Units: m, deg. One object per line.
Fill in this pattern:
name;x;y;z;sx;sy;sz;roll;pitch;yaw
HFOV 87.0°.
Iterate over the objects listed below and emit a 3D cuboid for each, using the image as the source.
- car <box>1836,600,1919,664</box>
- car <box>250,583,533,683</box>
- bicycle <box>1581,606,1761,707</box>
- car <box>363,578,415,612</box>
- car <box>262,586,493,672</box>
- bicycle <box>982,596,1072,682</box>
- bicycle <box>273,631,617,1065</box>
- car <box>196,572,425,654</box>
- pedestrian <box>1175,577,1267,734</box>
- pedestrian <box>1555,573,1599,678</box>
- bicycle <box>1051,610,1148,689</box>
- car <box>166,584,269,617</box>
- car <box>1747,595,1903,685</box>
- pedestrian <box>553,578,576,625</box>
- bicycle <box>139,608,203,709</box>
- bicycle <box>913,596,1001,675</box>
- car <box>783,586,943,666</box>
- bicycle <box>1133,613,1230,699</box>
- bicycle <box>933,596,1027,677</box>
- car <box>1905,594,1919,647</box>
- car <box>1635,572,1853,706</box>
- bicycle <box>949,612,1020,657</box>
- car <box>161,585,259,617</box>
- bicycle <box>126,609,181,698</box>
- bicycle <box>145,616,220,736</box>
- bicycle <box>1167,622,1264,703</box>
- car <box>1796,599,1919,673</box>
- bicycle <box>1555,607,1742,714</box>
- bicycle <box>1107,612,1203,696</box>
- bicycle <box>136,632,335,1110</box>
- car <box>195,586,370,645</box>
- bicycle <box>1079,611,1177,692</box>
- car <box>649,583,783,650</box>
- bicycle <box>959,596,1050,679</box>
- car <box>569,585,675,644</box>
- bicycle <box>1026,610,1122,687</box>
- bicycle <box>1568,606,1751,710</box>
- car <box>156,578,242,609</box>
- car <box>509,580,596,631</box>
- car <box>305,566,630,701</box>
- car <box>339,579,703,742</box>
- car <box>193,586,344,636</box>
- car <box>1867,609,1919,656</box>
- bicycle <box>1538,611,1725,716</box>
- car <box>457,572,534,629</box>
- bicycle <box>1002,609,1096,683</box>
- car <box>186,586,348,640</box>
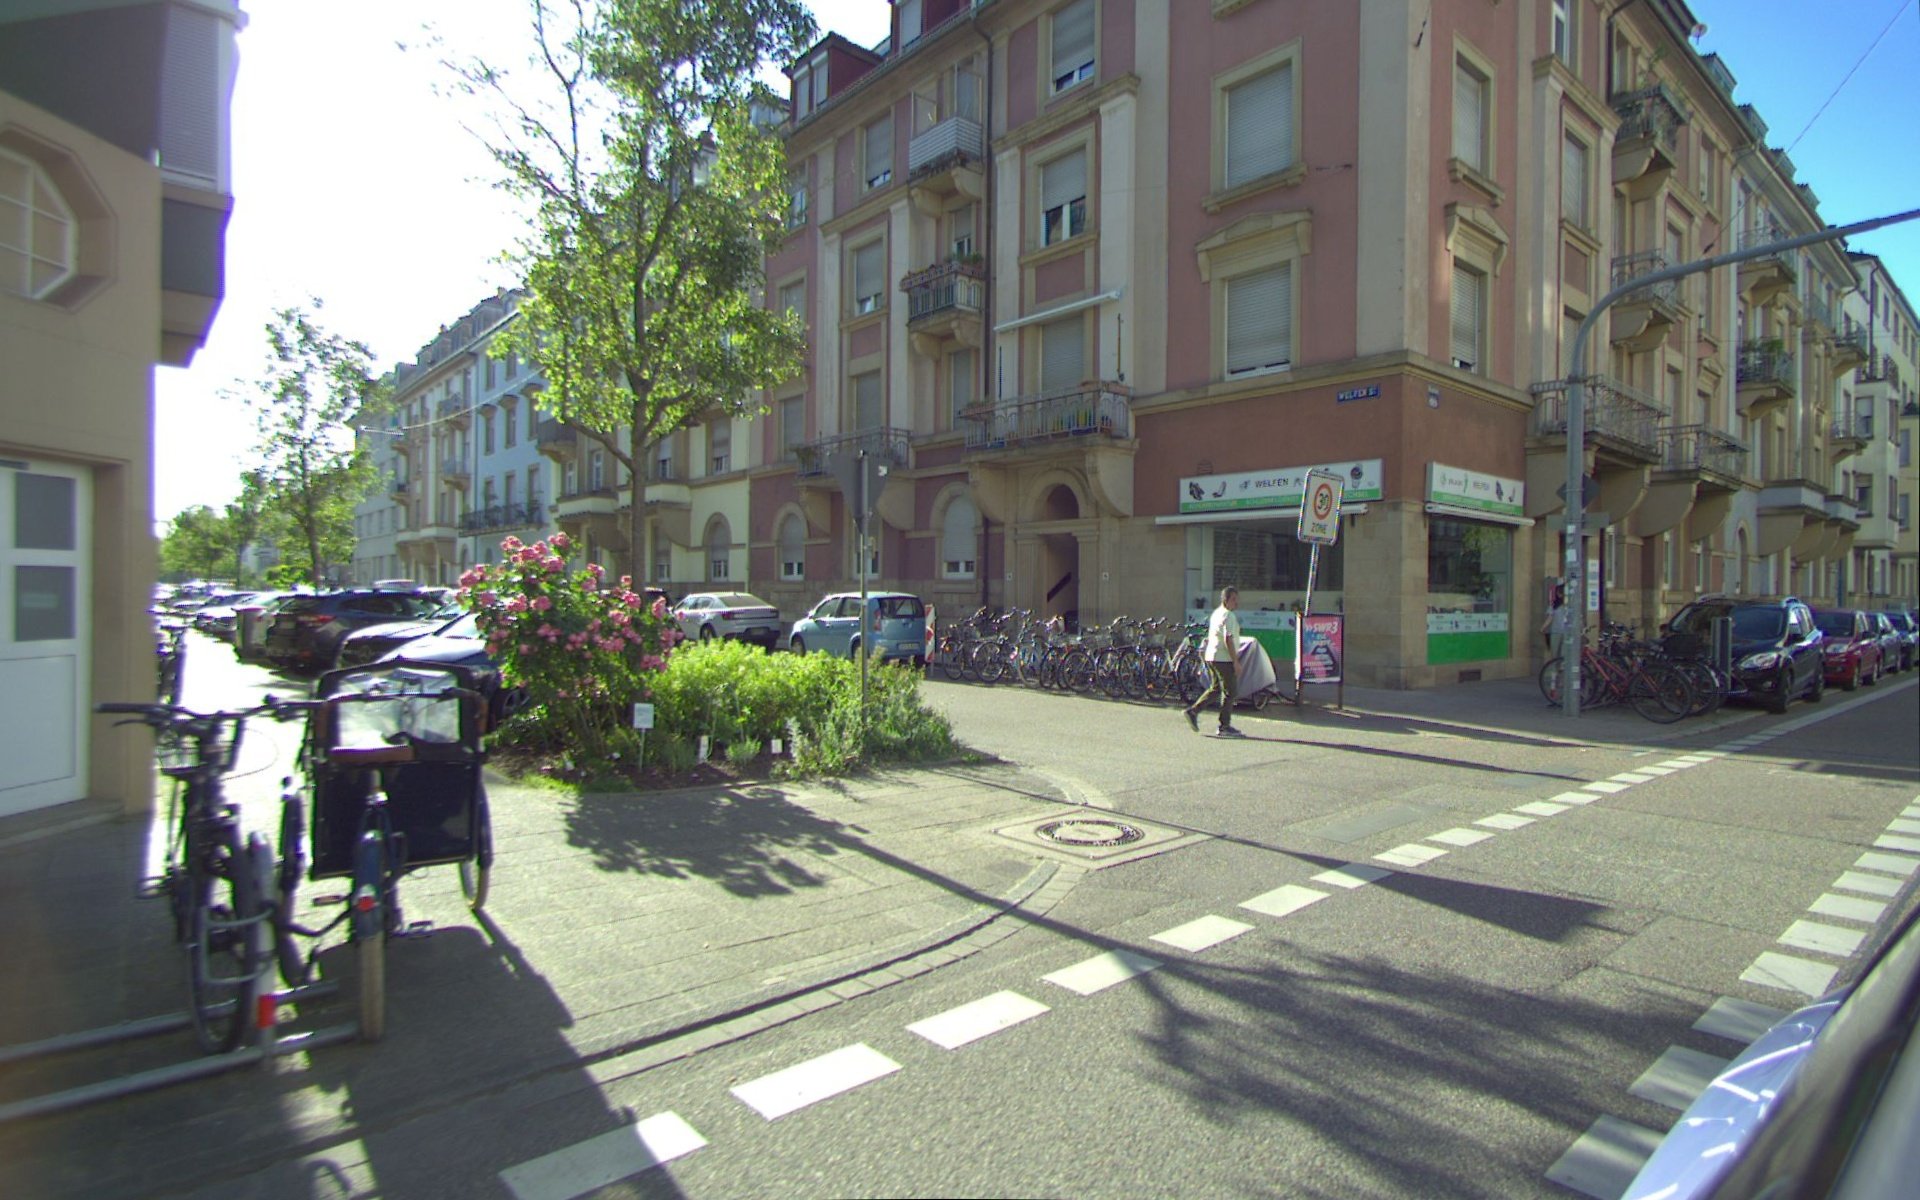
car;24.426;0.776;26.536;4.397;1.502;1.657;0;0;-42
car;-10.631;0.539;19.275;1.828;1.661;4.403;1;0;30
bicycle;9.886;0.742;14.146;0.518;1.242;1.963;0;2;-40
car;-31.688;-0.290;56.151;1.781;1.849;3.994;0;0;-41
car;-12.344;0.548;21.680;1.750;1.661;3.951;1;0;34
bicycle;1.167;0.637;17.366;1.698;1.400;0.491;0;0;-41
bicycle;-2.239;0.805;4.215;0.833;1.168;2.092;0;3;-39
car;-14.387;0.240;22.619;1.750;1.661;3.951;1;0;34
pedestrian;2.889;0.596;11.262;0.689;1.654;0.733;-2;-1;-11
pedestrian;10.205;0.409;16.743;0.440;1.708;0.514;0;0;-41
bicycle;2.234;0.761;16.045;1.698;1.169;0.544;0;0;-41
car;-38.409;0.011;52.409;1.750;1.624;3.951;1;0;34
car;17.168;0.712;20.032;3.663;1.614;1.757;0;0;-40
pedestrian;-15.400;0.062;39.392;0.598;1.820;0.730;0;0;-41
bicycle;-9.354;0.646;11.972;0.448;1.076;1.897;0;0;-42
bicycle;-0.038;0.627;18.789;1.698;1.400;0.544;0;0;-41
car;-2.081;0.482;21.055;1.612;1.515;3.498;0;0;-41
bicycle;3.267;0.791;14.816;1.698;1.169;0.468;0;0;-41
bicycle;0.376;0.628;18.235;1.698;1.400;0.628;0;0;-41
car;32.948;0.652;33.599;4.425;1.712;1.846;0;0;-41
car;12.397;0.510;15.903;4.427;1.756;1.757;0;4;-40
bicycle;0.504;0.722;21.630;0.481;0.890;1.726;0;0;-40
car;-40.459;0.032;54.663;1.750;1.624;3.951;1;0;34
bicycle;-10.742;0.668;13.461;0.448;1.076;1.897;0;0;-42
bicycle;-7.955;0.726;10.326;0.448;1.076;1.897;0;0;-42
bicycle;3.682;0.869;14.502;1.698;1.062;0.468;0;0;-41
car;20.829;0.752;23.367;4.396;1.532;1.657;0;0;-41
bicycle;9.062;0.750;13.396;0.518;1.242;1.963;0;2;-40
bicycle;2.952;0.779;15.202;1.698;1.169;0.468;0;0;-41
bicycle;-2.706;0.794;3.700;0.461;1.168;1.848;0;4;-39
car;-19.905;0.412;29.869;1.750;1.624;3.951;0;0;34
bicycle;2.611;0.767;15.614;1.698;1.169;0.544;0;0;-41
car;-6.327;0.366;25.953;1.666;1.571;4.064;0;0;-41
bicycle;0.804;0.628;17.798;1.698;1.400;0.544;0;0;-41
car;-10.228;0.383;30.463;1.666;1.652;3.994;0;0;-41
bicycle;1.869;0.756;16.483;1.698;1.169;0.544;0;0;-41
bicycle;9.466;0.746;13.772;0.518;1.242;1.963;0;2;-40
car;-47.732;-0.415;63.557;1.746;1.870;3.960;0;0;28
car;-14.174;0.160;35.075;1.590;1.652;3.994;0;0;-41
car;-6.894;0.397;14.599;1.746;1.661;3.959;0;0;29
car;-4.967;0.576;12.108;1.622;1.599;4.048;0;0;22
car;-23.852;0.346;35.032;1.750;1.624;3.951;0;0;34
car;28.520;0.922;30.059;4.423;1.265;1.658;0;0;-38
bicycle;8.609;0.774;13.051;0.518;1.175;1.927;0;2;-40
car;-18.655;-0.003;40.535;1.781;2.146;3.994;0;0;-41
bicycle;1.512;0.744;16.944;1.698;1.169;0.544;0;0;-41
car;-22.166;0.377;32.488;1.750;1.624;3.951;0;0;34
